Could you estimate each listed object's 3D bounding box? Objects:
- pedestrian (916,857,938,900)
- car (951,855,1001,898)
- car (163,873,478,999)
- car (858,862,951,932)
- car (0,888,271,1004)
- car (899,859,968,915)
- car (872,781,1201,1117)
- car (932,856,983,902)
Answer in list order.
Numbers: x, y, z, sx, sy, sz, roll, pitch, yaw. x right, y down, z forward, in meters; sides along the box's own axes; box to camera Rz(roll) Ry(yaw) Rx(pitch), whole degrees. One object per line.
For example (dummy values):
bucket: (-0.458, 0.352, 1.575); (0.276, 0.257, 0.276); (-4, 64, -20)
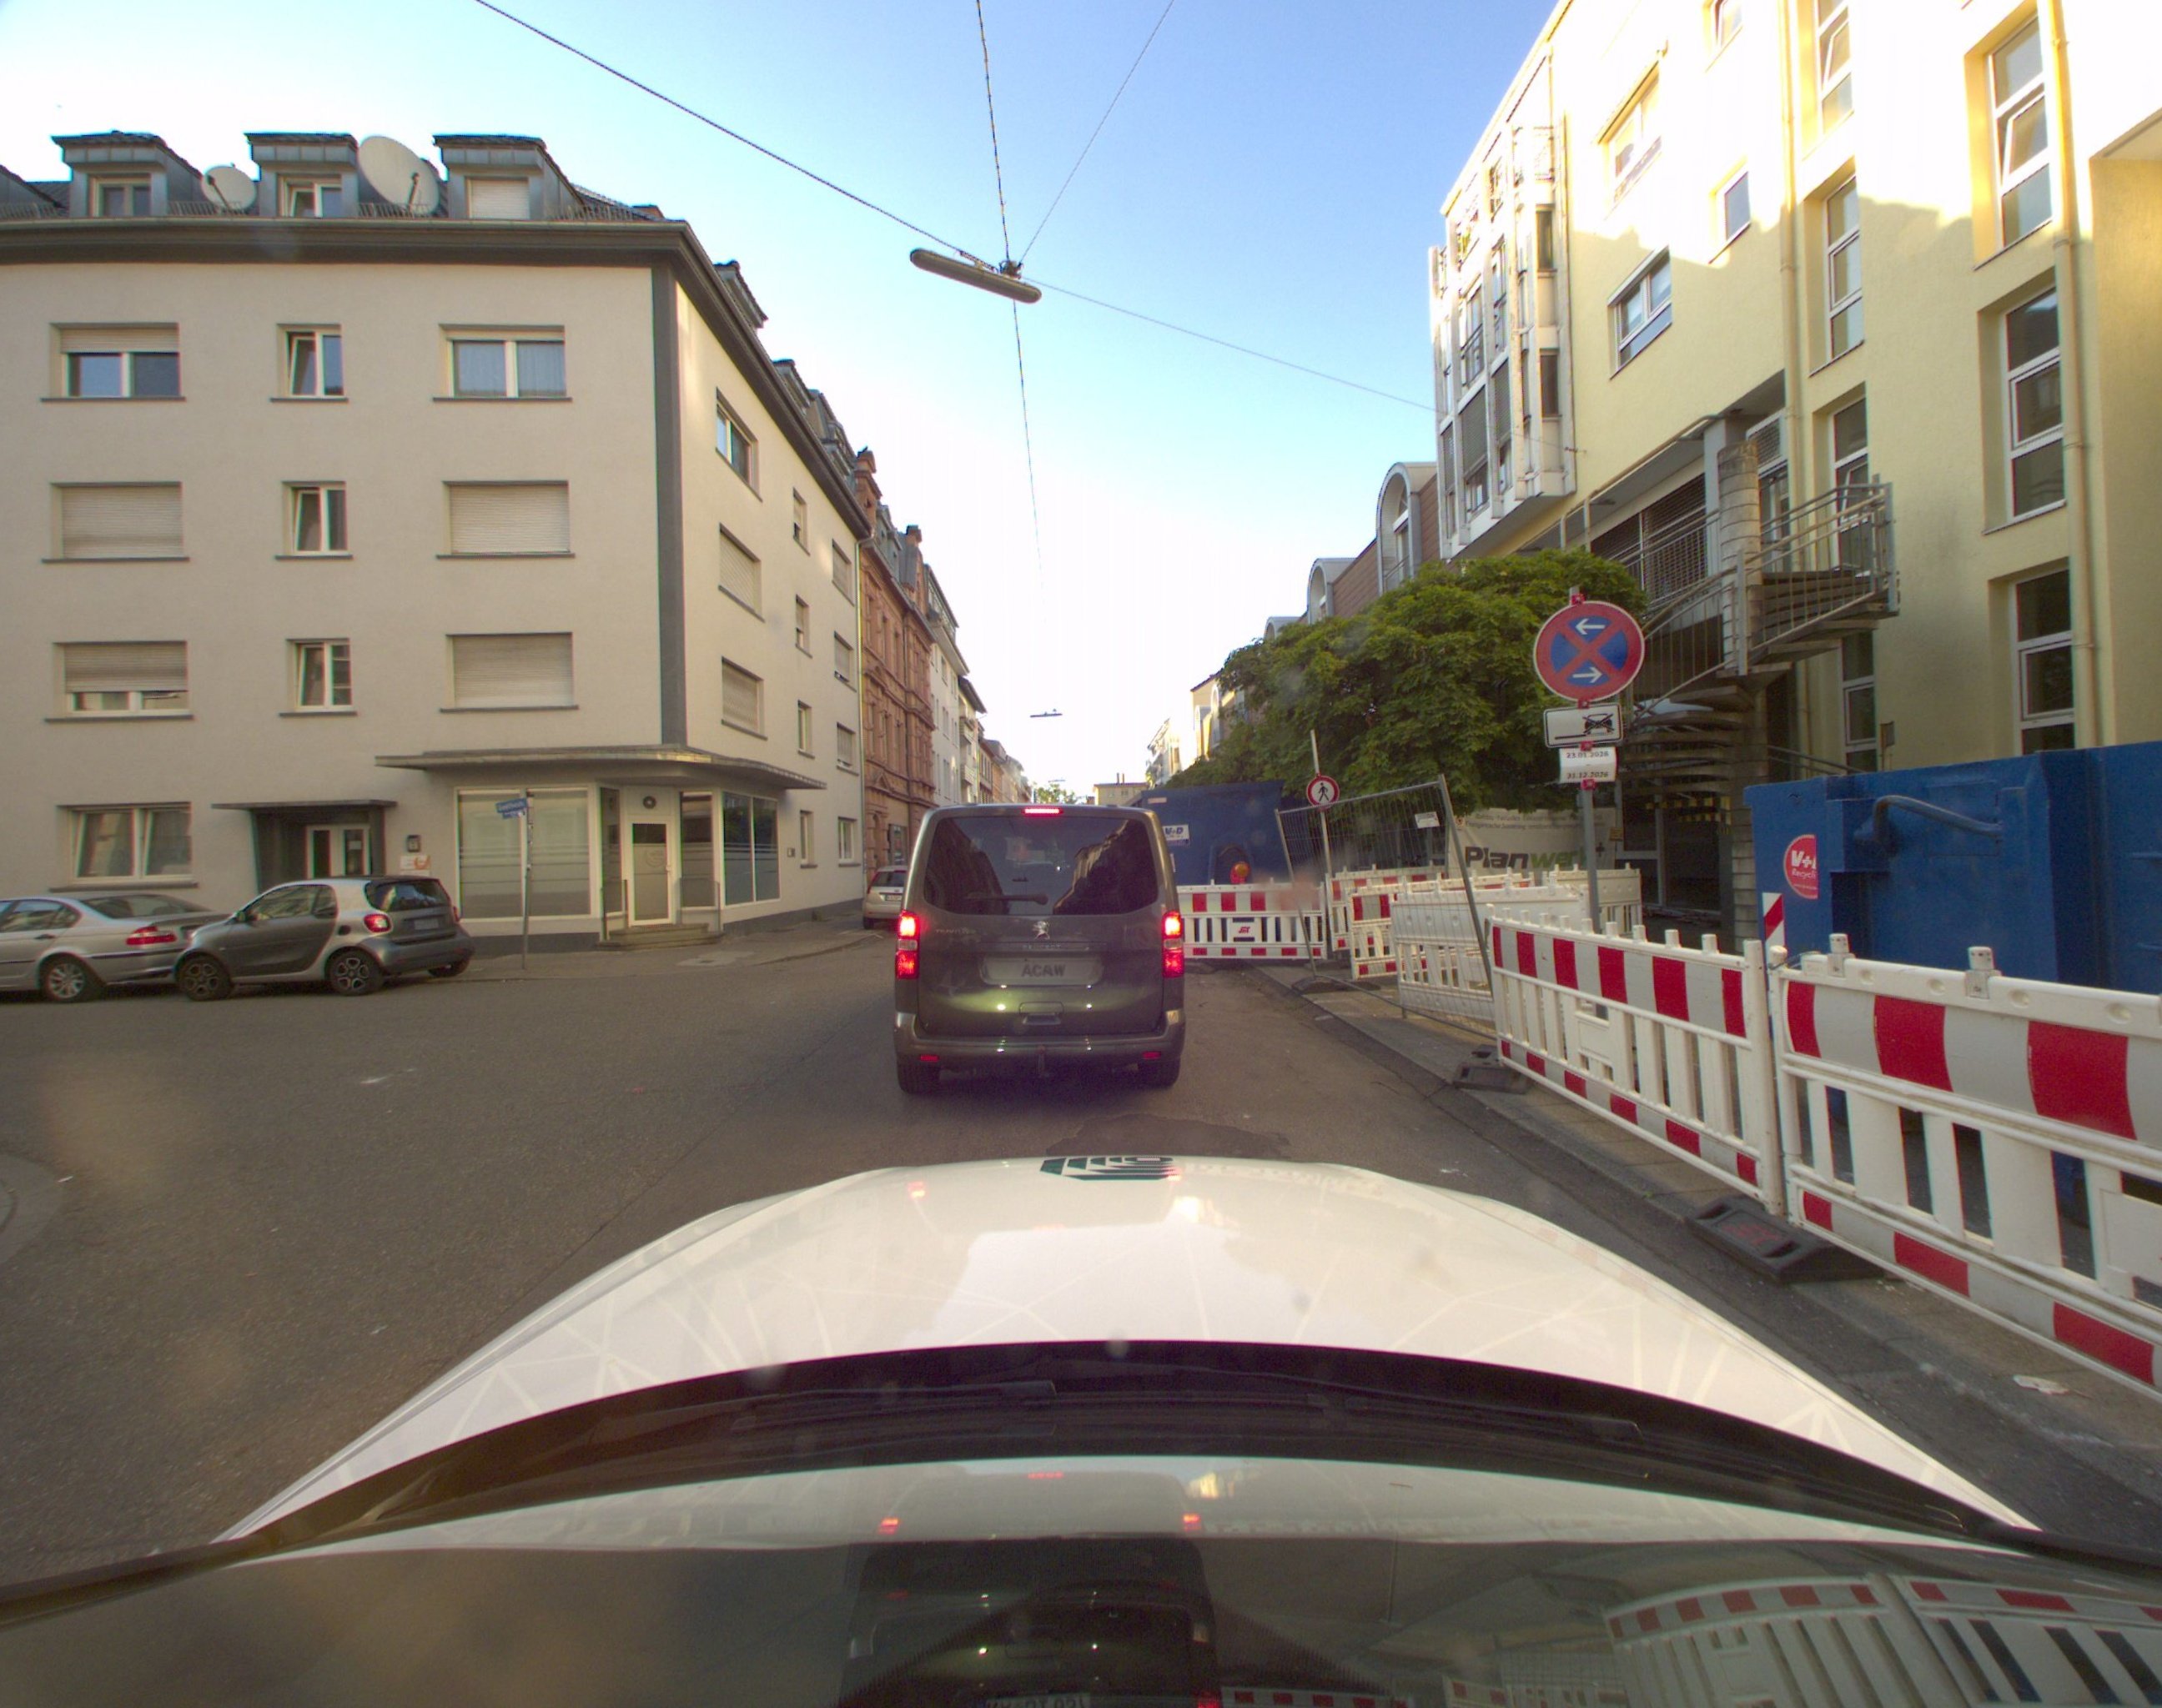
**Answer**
pedestrian: (-6.113, 0.955, 32.356); (0.739, 1.664, 0.702); (-2, 0, -5)
car: (-4.534, 0.957, 35.699); (1.888, 1.720, 3.748); (3, -1, -4)
car: (-10.243, 1.058, 11.141); (2.778, 1.540, 1.593); (0, 0, -1)
car: (-4.149, 0.971, 19.640); (1.653, 1.460, 3.412); (3, -1, -4)
car: (-14.209, 1.240, 11.299); (4.193, 1.403, 1.602); (-1, 0, -2)
car: (-4.448, 0.975, 24.960); (1.653, 1.525, 3.412); (3, -1, -4)
car: (-0.391, 0.561, 6.806); (1.862, 1.886, 4.228); (-1, -1, -4)
car: (-4.797, 0.966, 32.057); (1.663, 1.666, 3.087); (3, -1, -4)
